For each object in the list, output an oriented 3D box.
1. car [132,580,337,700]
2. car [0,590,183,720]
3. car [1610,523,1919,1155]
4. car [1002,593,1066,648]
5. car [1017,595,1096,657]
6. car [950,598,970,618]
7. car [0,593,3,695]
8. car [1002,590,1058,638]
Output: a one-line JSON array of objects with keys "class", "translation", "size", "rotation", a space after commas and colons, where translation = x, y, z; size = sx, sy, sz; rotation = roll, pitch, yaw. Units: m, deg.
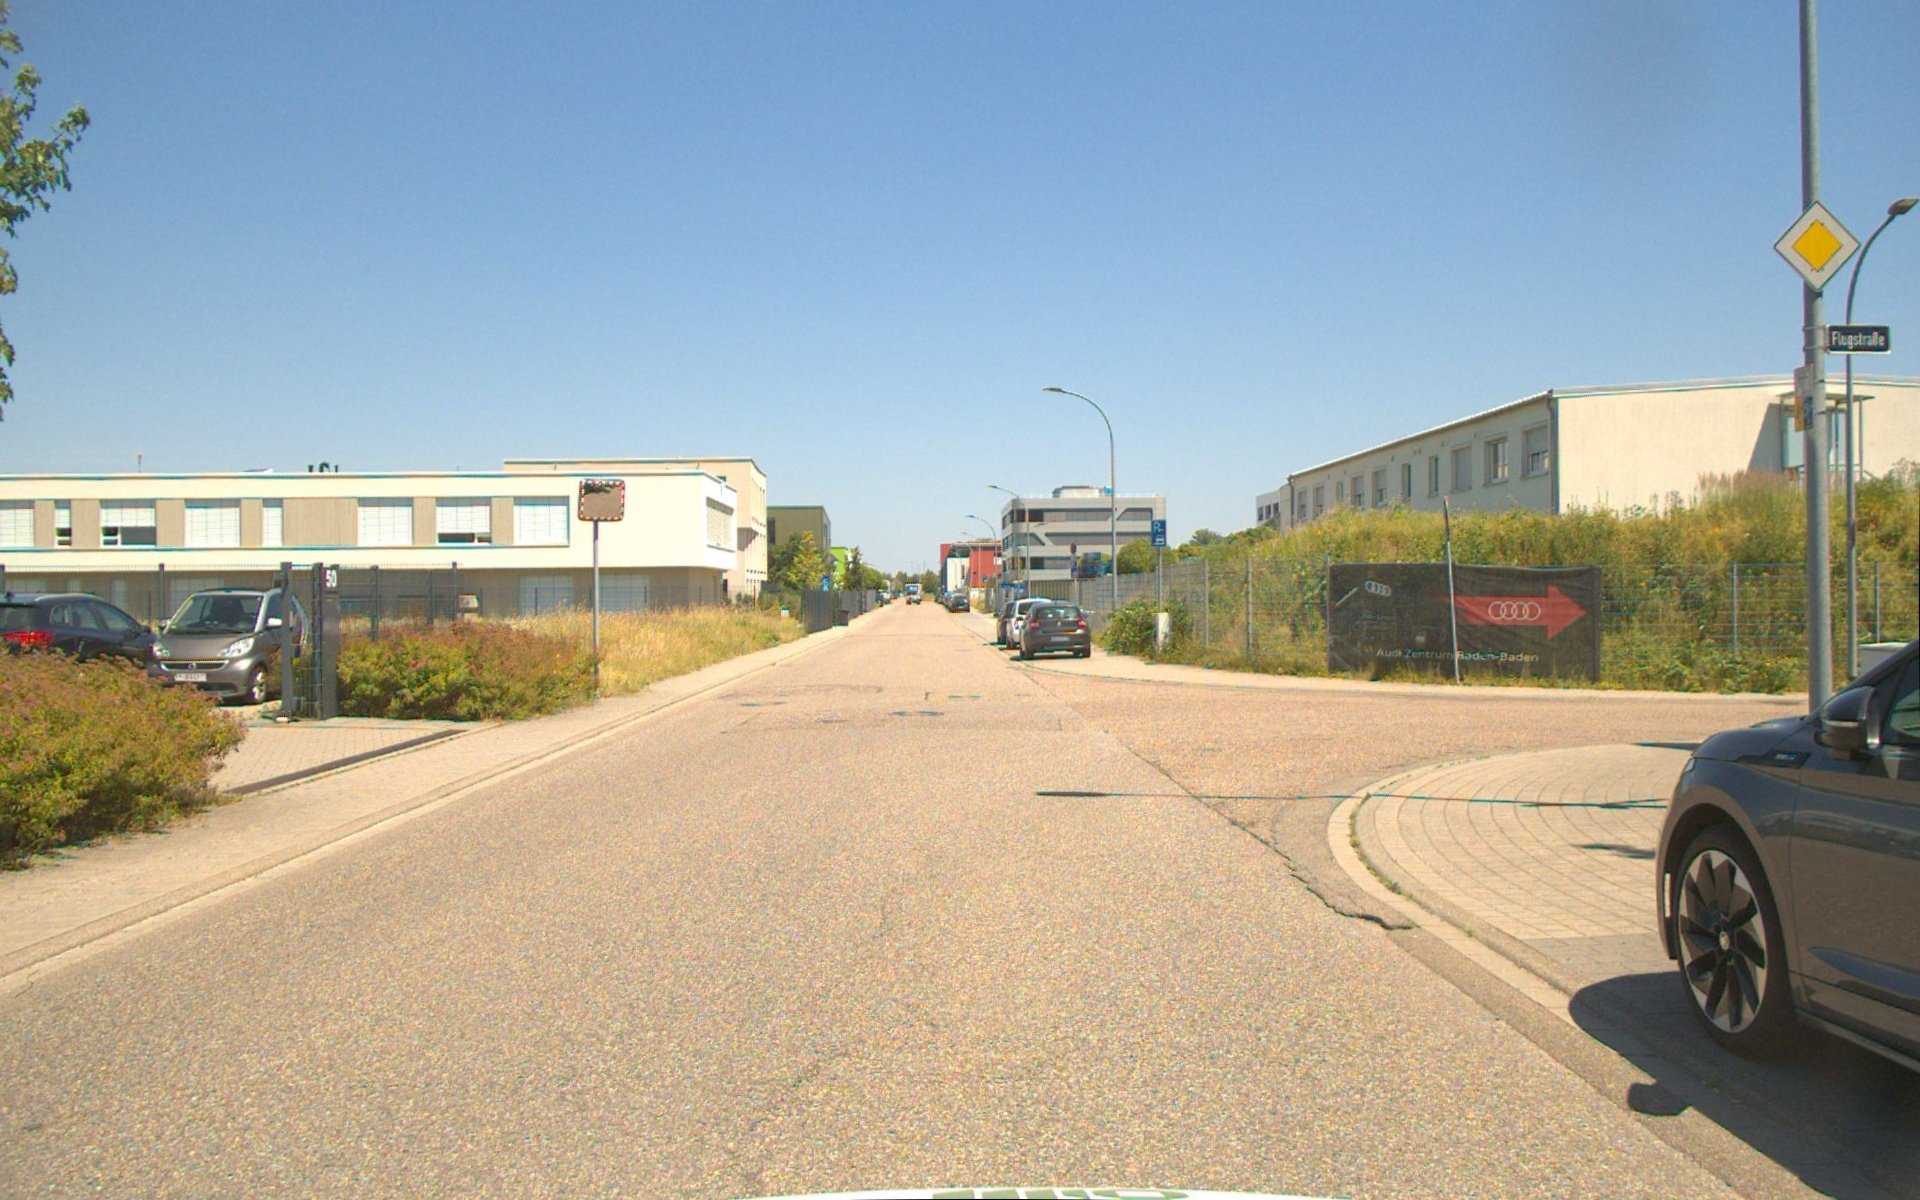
[{"class": "car", "translation": [-10.024, 0.515, 23.080], "size": [1.666, 1.547, 2.995], "rotation": [-1, 0, -4]}, {"class": "car", "translation": [-12.105, 0.662, 22.058], "size": [1.789, 1.568, 3.997], "rotation": [-1, 0, -4]}, {"class": "car", "translation": [3.436, 0.603, 3.924], "size": [1.768, 1.691, 4.606], "rotation": [-3, 1, -2]}, {"class": "car", "translation": [2.304, 0.617, 52.200], "size": [1.868, 1.573, 4.001], "rotation": [-2, 0, 1]}, {"class": "car", "translation": [2.483, 0.640, 43.292], "size": [1.868, 1.473, 4.001], "rotation": [-2, 0, 1]}, {"class": "car", "translation": [0.018, 0.735, 154.079], "size": [1.740, 1.758, 3.999], "rotation": [1, 0, -1]}, {"class": "car", "translation": [-14.482, 0.649, 21.637], "size": [1.765, 1.465, 3.997], "rotation": [-1, 0, -4]}, {"class": "car", "translation": [2.436, 0.481, 58.554], "size": [1.868, 1.573, 4.001], "rotation": [-2, 0, 1]}]
